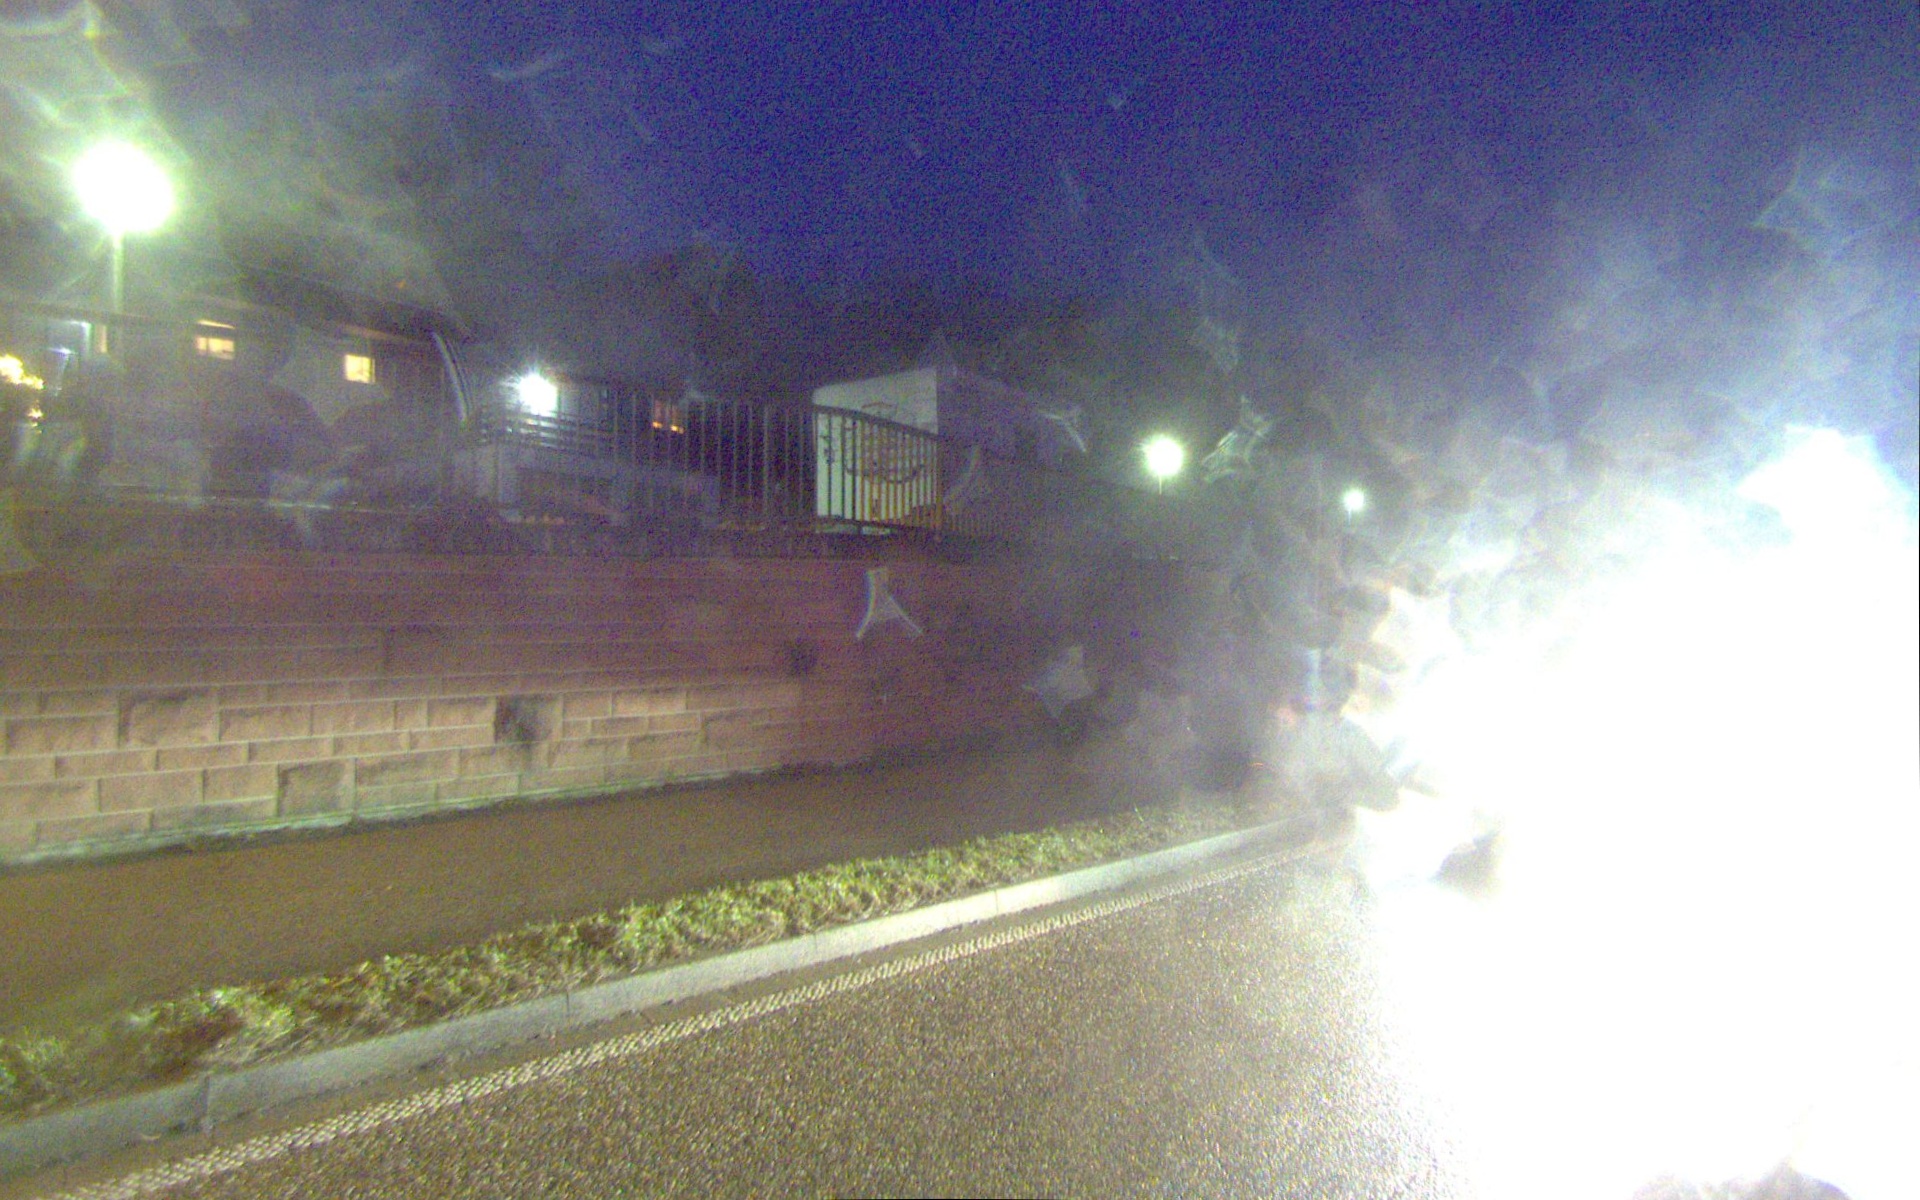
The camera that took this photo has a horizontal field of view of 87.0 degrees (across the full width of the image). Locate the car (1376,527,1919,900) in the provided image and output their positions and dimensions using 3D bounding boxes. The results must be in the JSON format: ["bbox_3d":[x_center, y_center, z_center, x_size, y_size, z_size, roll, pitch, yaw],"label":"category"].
[{"bbox_3d":[5.133,0.506,6.862,4.845,1.757,1.841,-1,0,-33],"label":"car"}]

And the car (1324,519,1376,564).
[{"bbox_3d":[19.233,-2.846,49.794,1.721,2.039,3.658,0,0,32],"label":"car"}]

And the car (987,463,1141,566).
[{"bbox_3d":[2.482,-1.845,23.289,1.985,2.039,3.954,0,0,32],"label":"car"}]

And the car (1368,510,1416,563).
[{"bbox_3d":[25.128,-3.632,58.754,1.922,2.809,4.206,0,0,32],"label":"car"}]

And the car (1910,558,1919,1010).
[{"bbox_3d":[5.584,0.630,4.302,4.278,1.602,1.825,-1,0,-41],"label":"car"}]

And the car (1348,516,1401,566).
[{"bbox_3d":[22.251,-3.110,54.241,1.922,2.451,4.206,0,0,32],"label":"car"}]

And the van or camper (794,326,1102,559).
[{"bbox_3d":[0.093,-2.164,16.214,2.395,2.828,5.712,0,0,30],"label":"van or camper"}]

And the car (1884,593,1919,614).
[{"bbox_3d":[93.643,0.320,99.486,2.061,2.039,4.694,0,1,14],"label":"car"}]
